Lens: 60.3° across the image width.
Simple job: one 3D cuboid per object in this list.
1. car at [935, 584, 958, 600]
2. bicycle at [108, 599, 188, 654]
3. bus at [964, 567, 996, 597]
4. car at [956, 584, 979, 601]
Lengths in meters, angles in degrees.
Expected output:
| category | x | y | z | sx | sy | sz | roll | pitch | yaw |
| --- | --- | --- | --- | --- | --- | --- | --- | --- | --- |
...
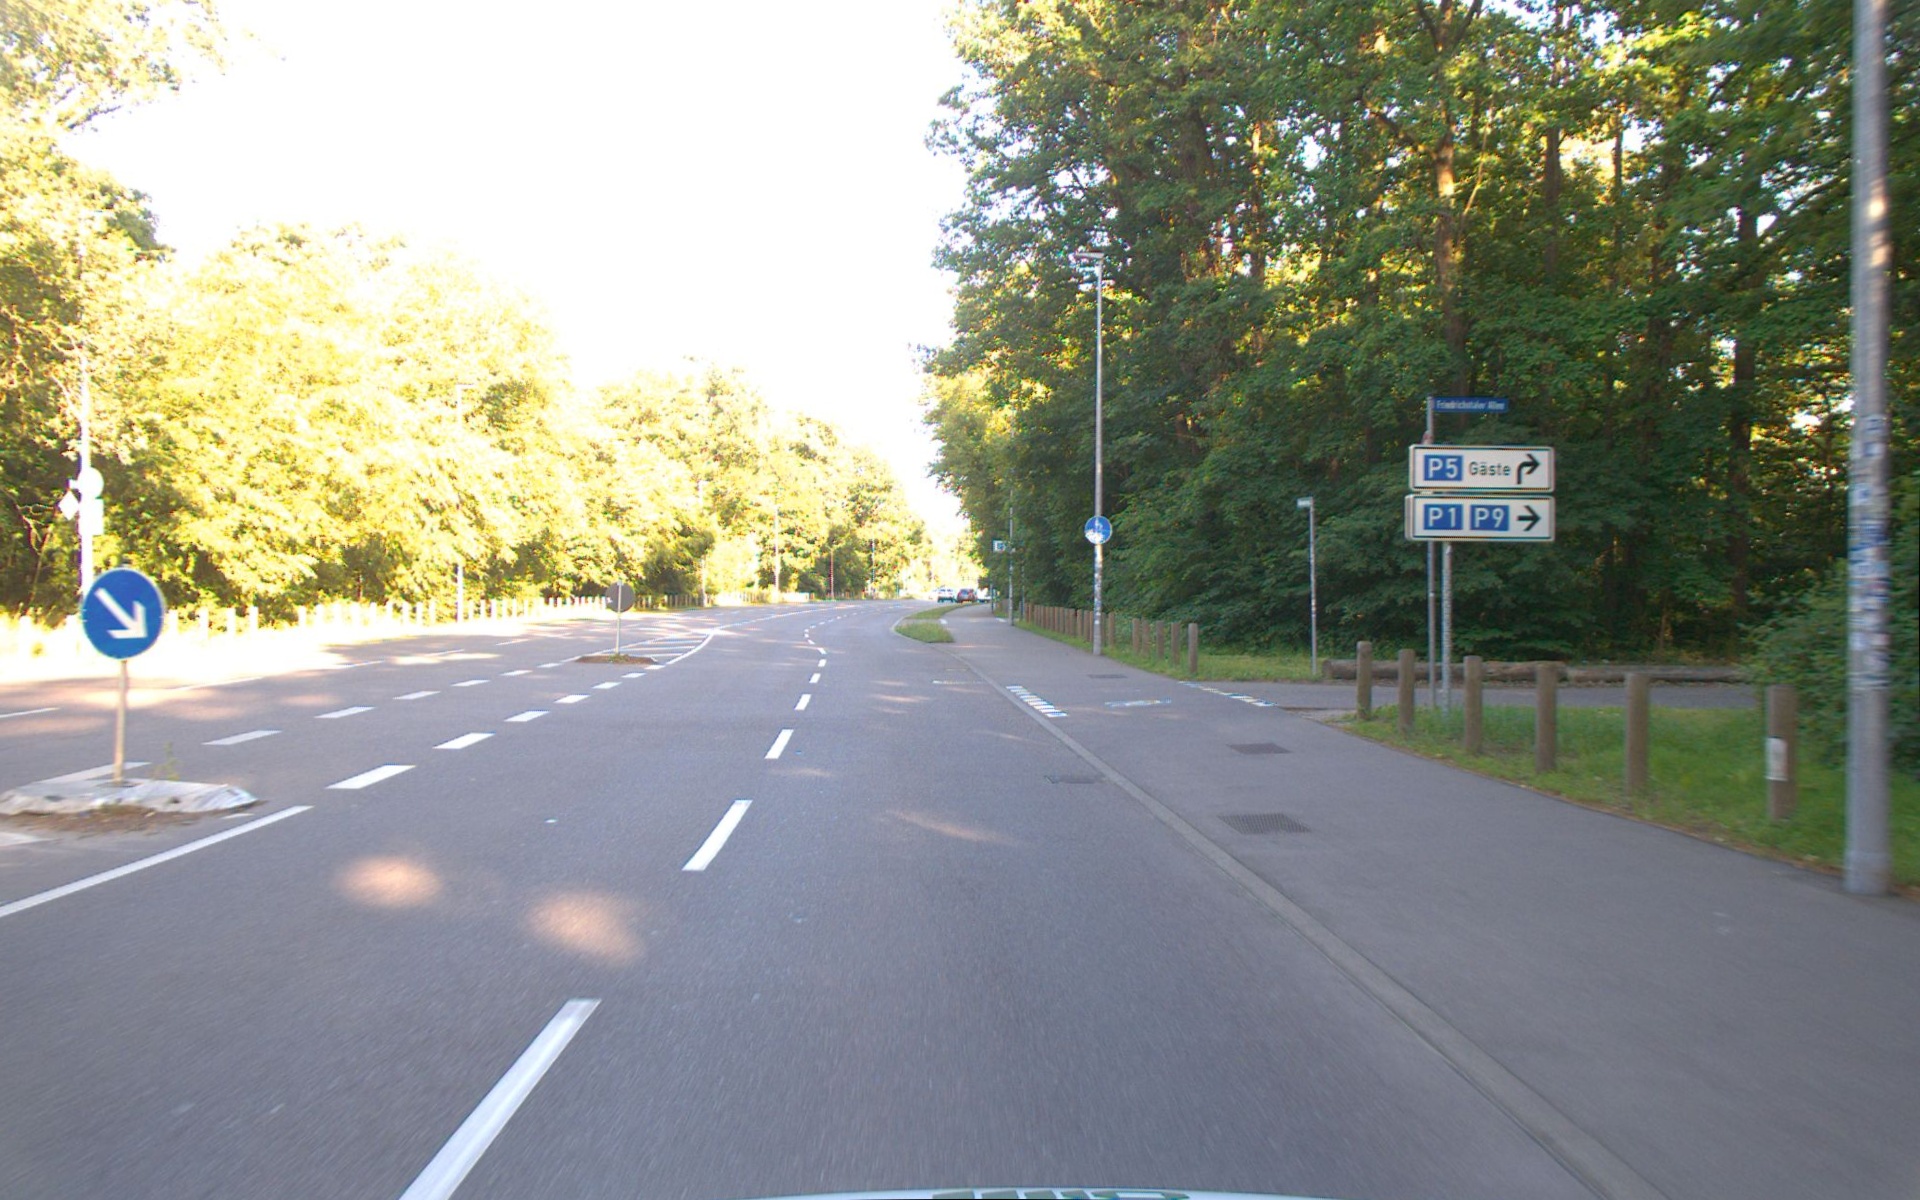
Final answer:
| category | x | y | z | sx | sy | sz | roll | pitch | yaw |
| --- | --- | --- | --- | --- | --- | --- | --- | --- | --- |
| car | -1.485 | -0.883 | 183.615 | 1.840 | 1.739 | 4.004 | 0 | 0 | 9 |
| bicycle | -17.811 | 0.568 | 36.336 | 0.392 | 1.152 | 2.221 | 2 | 0 | 6 |
| bus | 2.363 | -2.151 | 195.025 | 2.549 | 3.427 | 7.982 | 1 | 1 | 9 |
| car | 0.847 | -0.847 | 178.509 | 1.840 | 1.796 | 4.004 | 0 | 0 | 9 |
